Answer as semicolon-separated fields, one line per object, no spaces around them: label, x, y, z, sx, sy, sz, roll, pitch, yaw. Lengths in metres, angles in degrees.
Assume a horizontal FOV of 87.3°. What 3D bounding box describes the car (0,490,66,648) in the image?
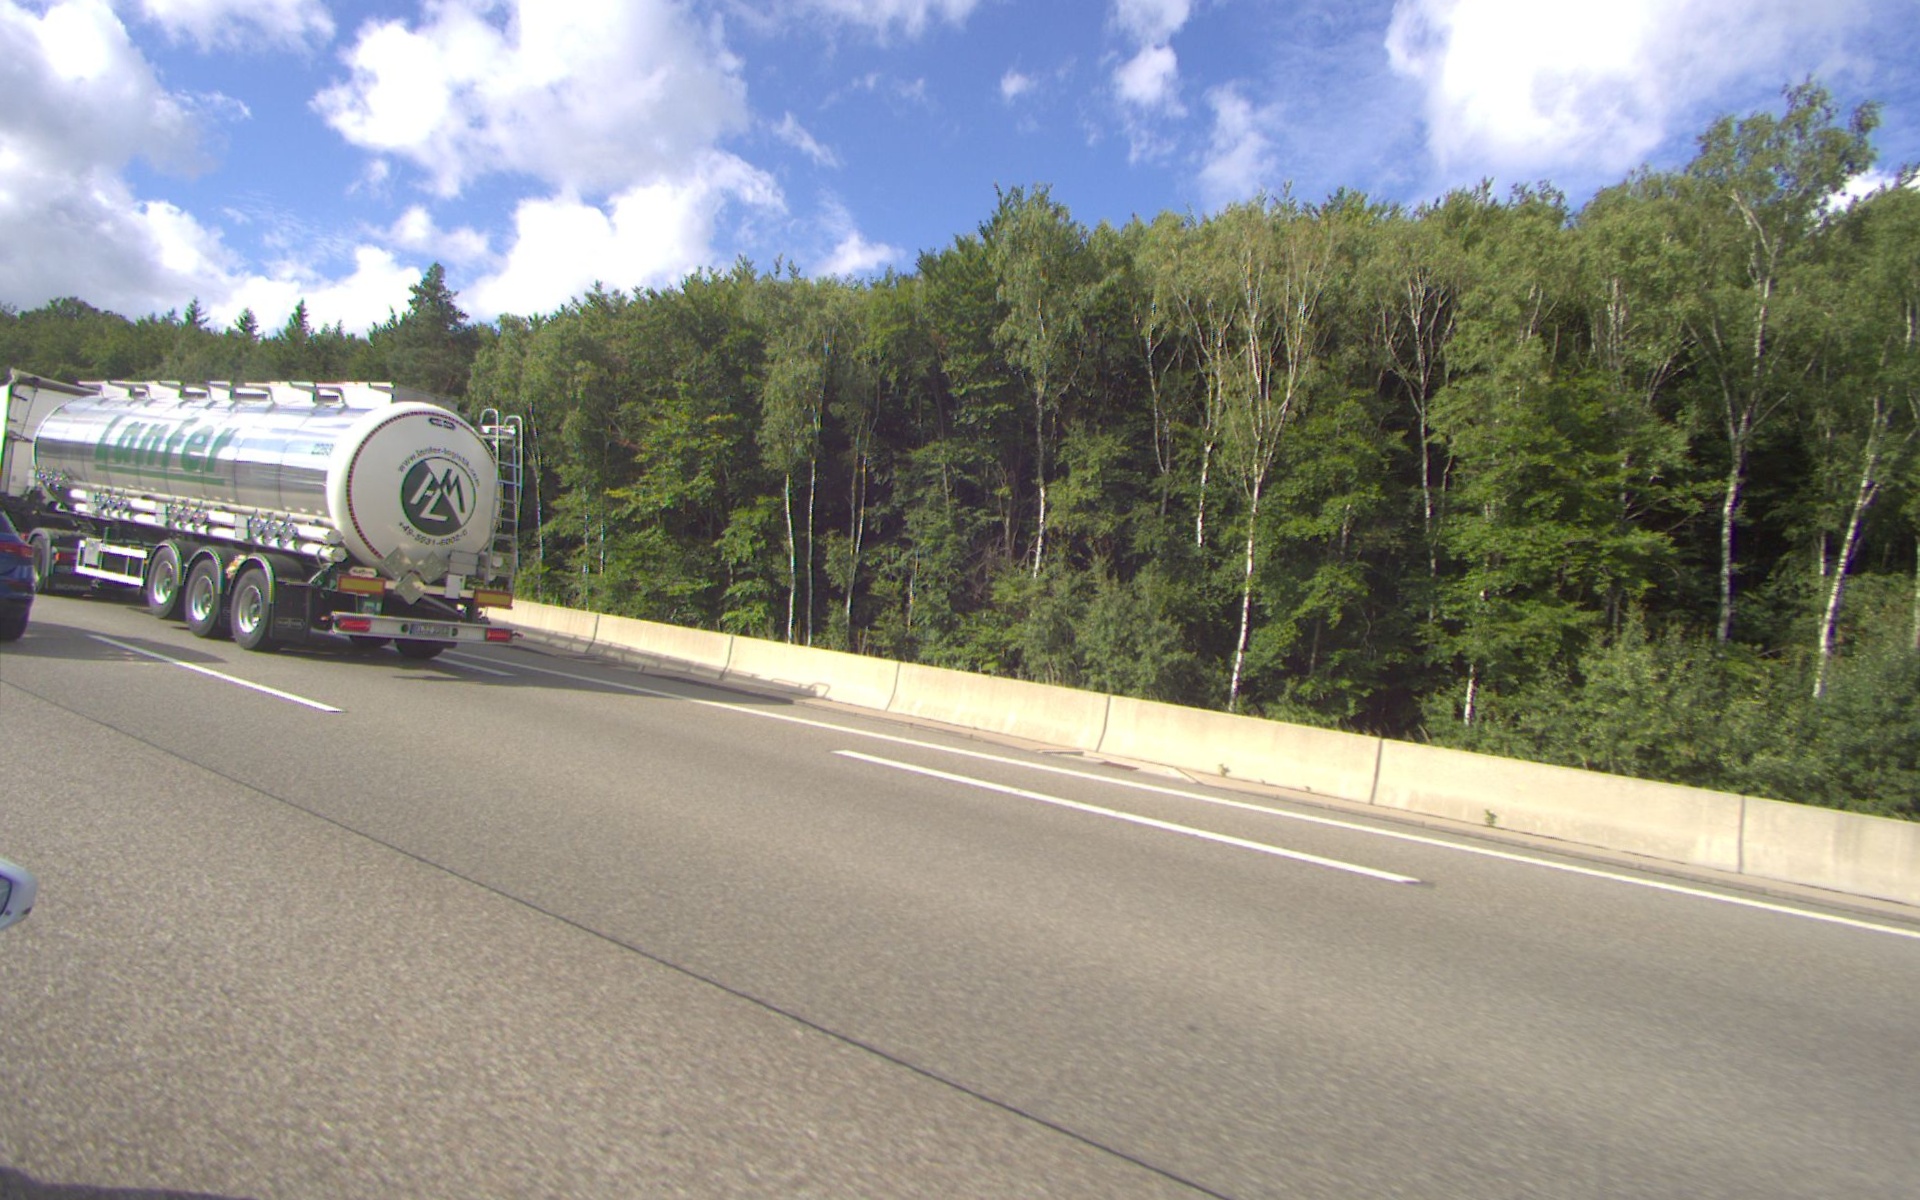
car;-11.634;-0.544;10.757;4.383;1.548;1.776;6;-2;31

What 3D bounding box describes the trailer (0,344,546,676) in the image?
trailer;-11.507;-1.523;15.928;11.666;3.813;2.652;7;0;33

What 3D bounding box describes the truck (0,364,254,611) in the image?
truck;-16.501;-2.111;19.146;5.982;3.870;2.652;7;0;33
